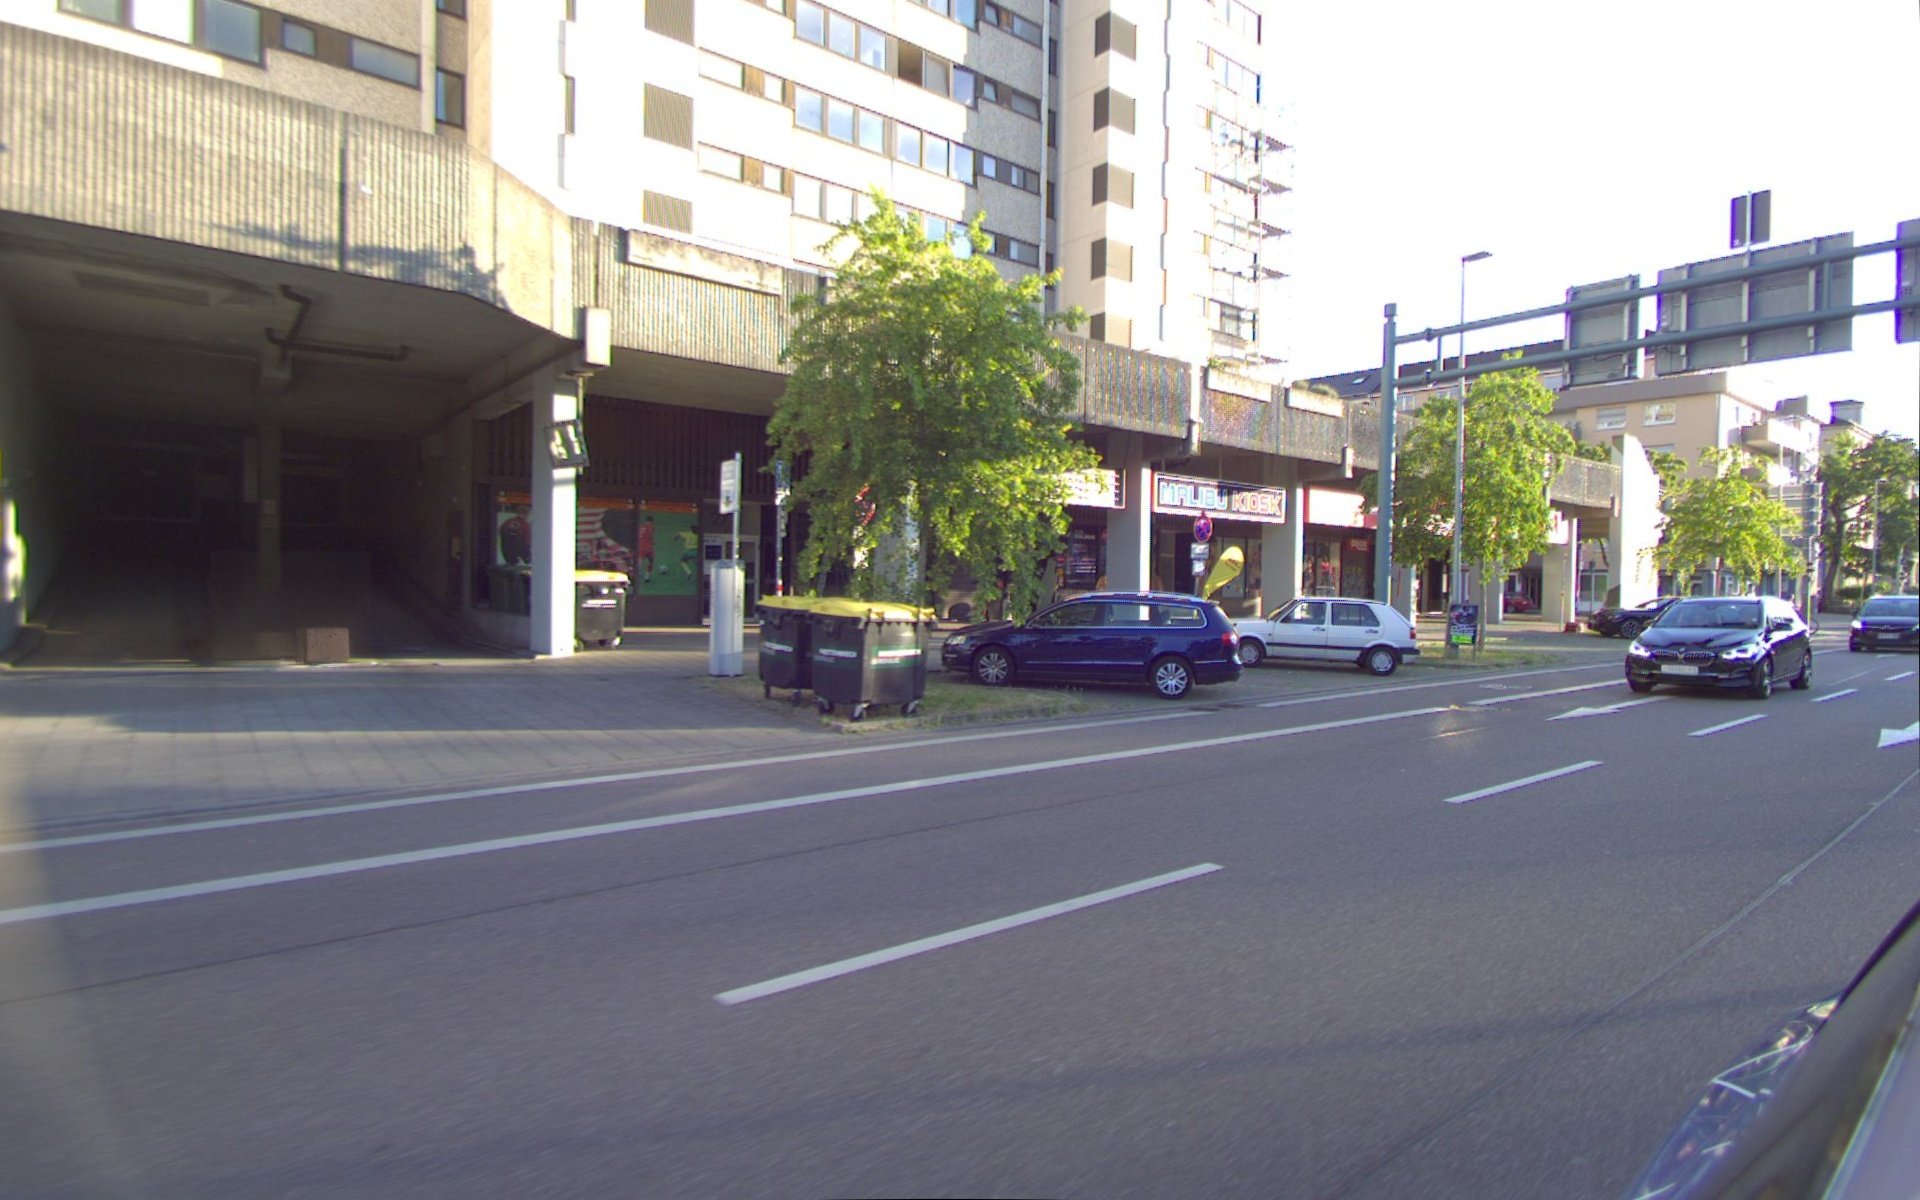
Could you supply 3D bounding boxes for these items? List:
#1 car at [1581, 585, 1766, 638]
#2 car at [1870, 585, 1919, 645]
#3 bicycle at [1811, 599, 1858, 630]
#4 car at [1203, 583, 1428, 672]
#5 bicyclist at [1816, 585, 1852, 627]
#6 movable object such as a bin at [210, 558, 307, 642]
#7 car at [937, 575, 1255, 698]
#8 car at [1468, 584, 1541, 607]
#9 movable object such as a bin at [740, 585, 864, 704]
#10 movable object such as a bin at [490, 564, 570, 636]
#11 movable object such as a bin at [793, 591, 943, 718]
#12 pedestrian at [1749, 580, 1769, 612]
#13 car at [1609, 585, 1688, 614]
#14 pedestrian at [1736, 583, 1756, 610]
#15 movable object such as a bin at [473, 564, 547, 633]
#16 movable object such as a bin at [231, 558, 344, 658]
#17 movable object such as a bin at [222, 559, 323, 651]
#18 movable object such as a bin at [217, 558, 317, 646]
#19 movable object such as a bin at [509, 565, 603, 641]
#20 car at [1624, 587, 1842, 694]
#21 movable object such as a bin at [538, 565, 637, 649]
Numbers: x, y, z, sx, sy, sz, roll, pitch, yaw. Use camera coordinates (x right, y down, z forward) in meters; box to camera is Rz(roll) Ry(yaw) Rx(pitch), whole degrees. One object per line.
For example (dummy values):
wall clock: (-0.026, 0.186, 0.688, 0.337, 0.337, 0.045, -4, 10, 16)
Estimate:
car: (23.406, 0.331, 33.372, 4.533, 1.471, 1.809, 3, 2, 11)
car: (27.530, 0.409, 29.108, 1.823, 1.619, 4.297, -1, -1, 44)
bicycle: (36.542, 0.602, 42.336, 0.811, 1.188, 2.132, 2, 2, 23)
car: (6.864, 0.486, 19.963, 3.932, 1.434, 1.745, 3, 3, 14)
bicyclist: (36.557, 0.246, 42.344, 0.811, 1.713, 0.954, 2, 2, 23)
movable object such as a bin: (-11.963, -0.017, 17.256, 1.260, 1.346, 1.076, 0, 2, -40)
car: (2.108, 0.491, 15.829, 4.597, 1.526, 1.933, 3, 3, 12)
car: (37.834, -0.328, 70.412, 1.630, 1.457, 4.219, -5, 5, -43)
movable object such as a bin: (-1.998, 0.530, 12.836, 1.141, 1.363, 1.015, 0, 3, -44)
movable object such as a bin: (-8.295, -0.017, 19.503, 1.105, 1.329, 1.184, 0, 1, -40)
movable object such as a bin: (-1.070, 0.581, 11.826, 1.085, 1.317, 1.339, 4, 3, 44)
pedestrian: (48.171, -0.246, 60.991, 0.534, 1.882, 0.840, -1, 1, -39)
car: (43.164, -0.046, 63.481, 1.587, 1.578, 3.813, -4, 4, -38)
pedestrian: (48.197, -0.208, 62.046, 0.752, 1.635, 0.822, -1, 2, -38)
movable object such as a bin: (-9.103, -0.049, 20.448, 1.069, 1.329, 1.184, 0, 1, -40)
movable object such as a bin: (-9.800, 0.091, 14.742, 1.260, 1.346, 1.107, 0, 3, -40)
movable object such as a bin: (-10.613, 0.055, 15.622, 1.180, 1.346, 1.076, 0, 2, -40)
movable object such as a bin: (-11.280, 0.016, 16.472, 1.260, 1.346, 1.035, 0, 2, -40)
movable object such as a bin: (-7.375, 0.034, 18.483, 1.281, 1.315, 1.184, 0, 1, -40)
car: (12.846, 0.573, 16.706, 4.705, 1.538, 1.824, 0, 0, -39)
movable object such as a bin: (-6.438, 0.102, 17.478, 1.244, 1.339, 1.184, 0, 4, -40)
